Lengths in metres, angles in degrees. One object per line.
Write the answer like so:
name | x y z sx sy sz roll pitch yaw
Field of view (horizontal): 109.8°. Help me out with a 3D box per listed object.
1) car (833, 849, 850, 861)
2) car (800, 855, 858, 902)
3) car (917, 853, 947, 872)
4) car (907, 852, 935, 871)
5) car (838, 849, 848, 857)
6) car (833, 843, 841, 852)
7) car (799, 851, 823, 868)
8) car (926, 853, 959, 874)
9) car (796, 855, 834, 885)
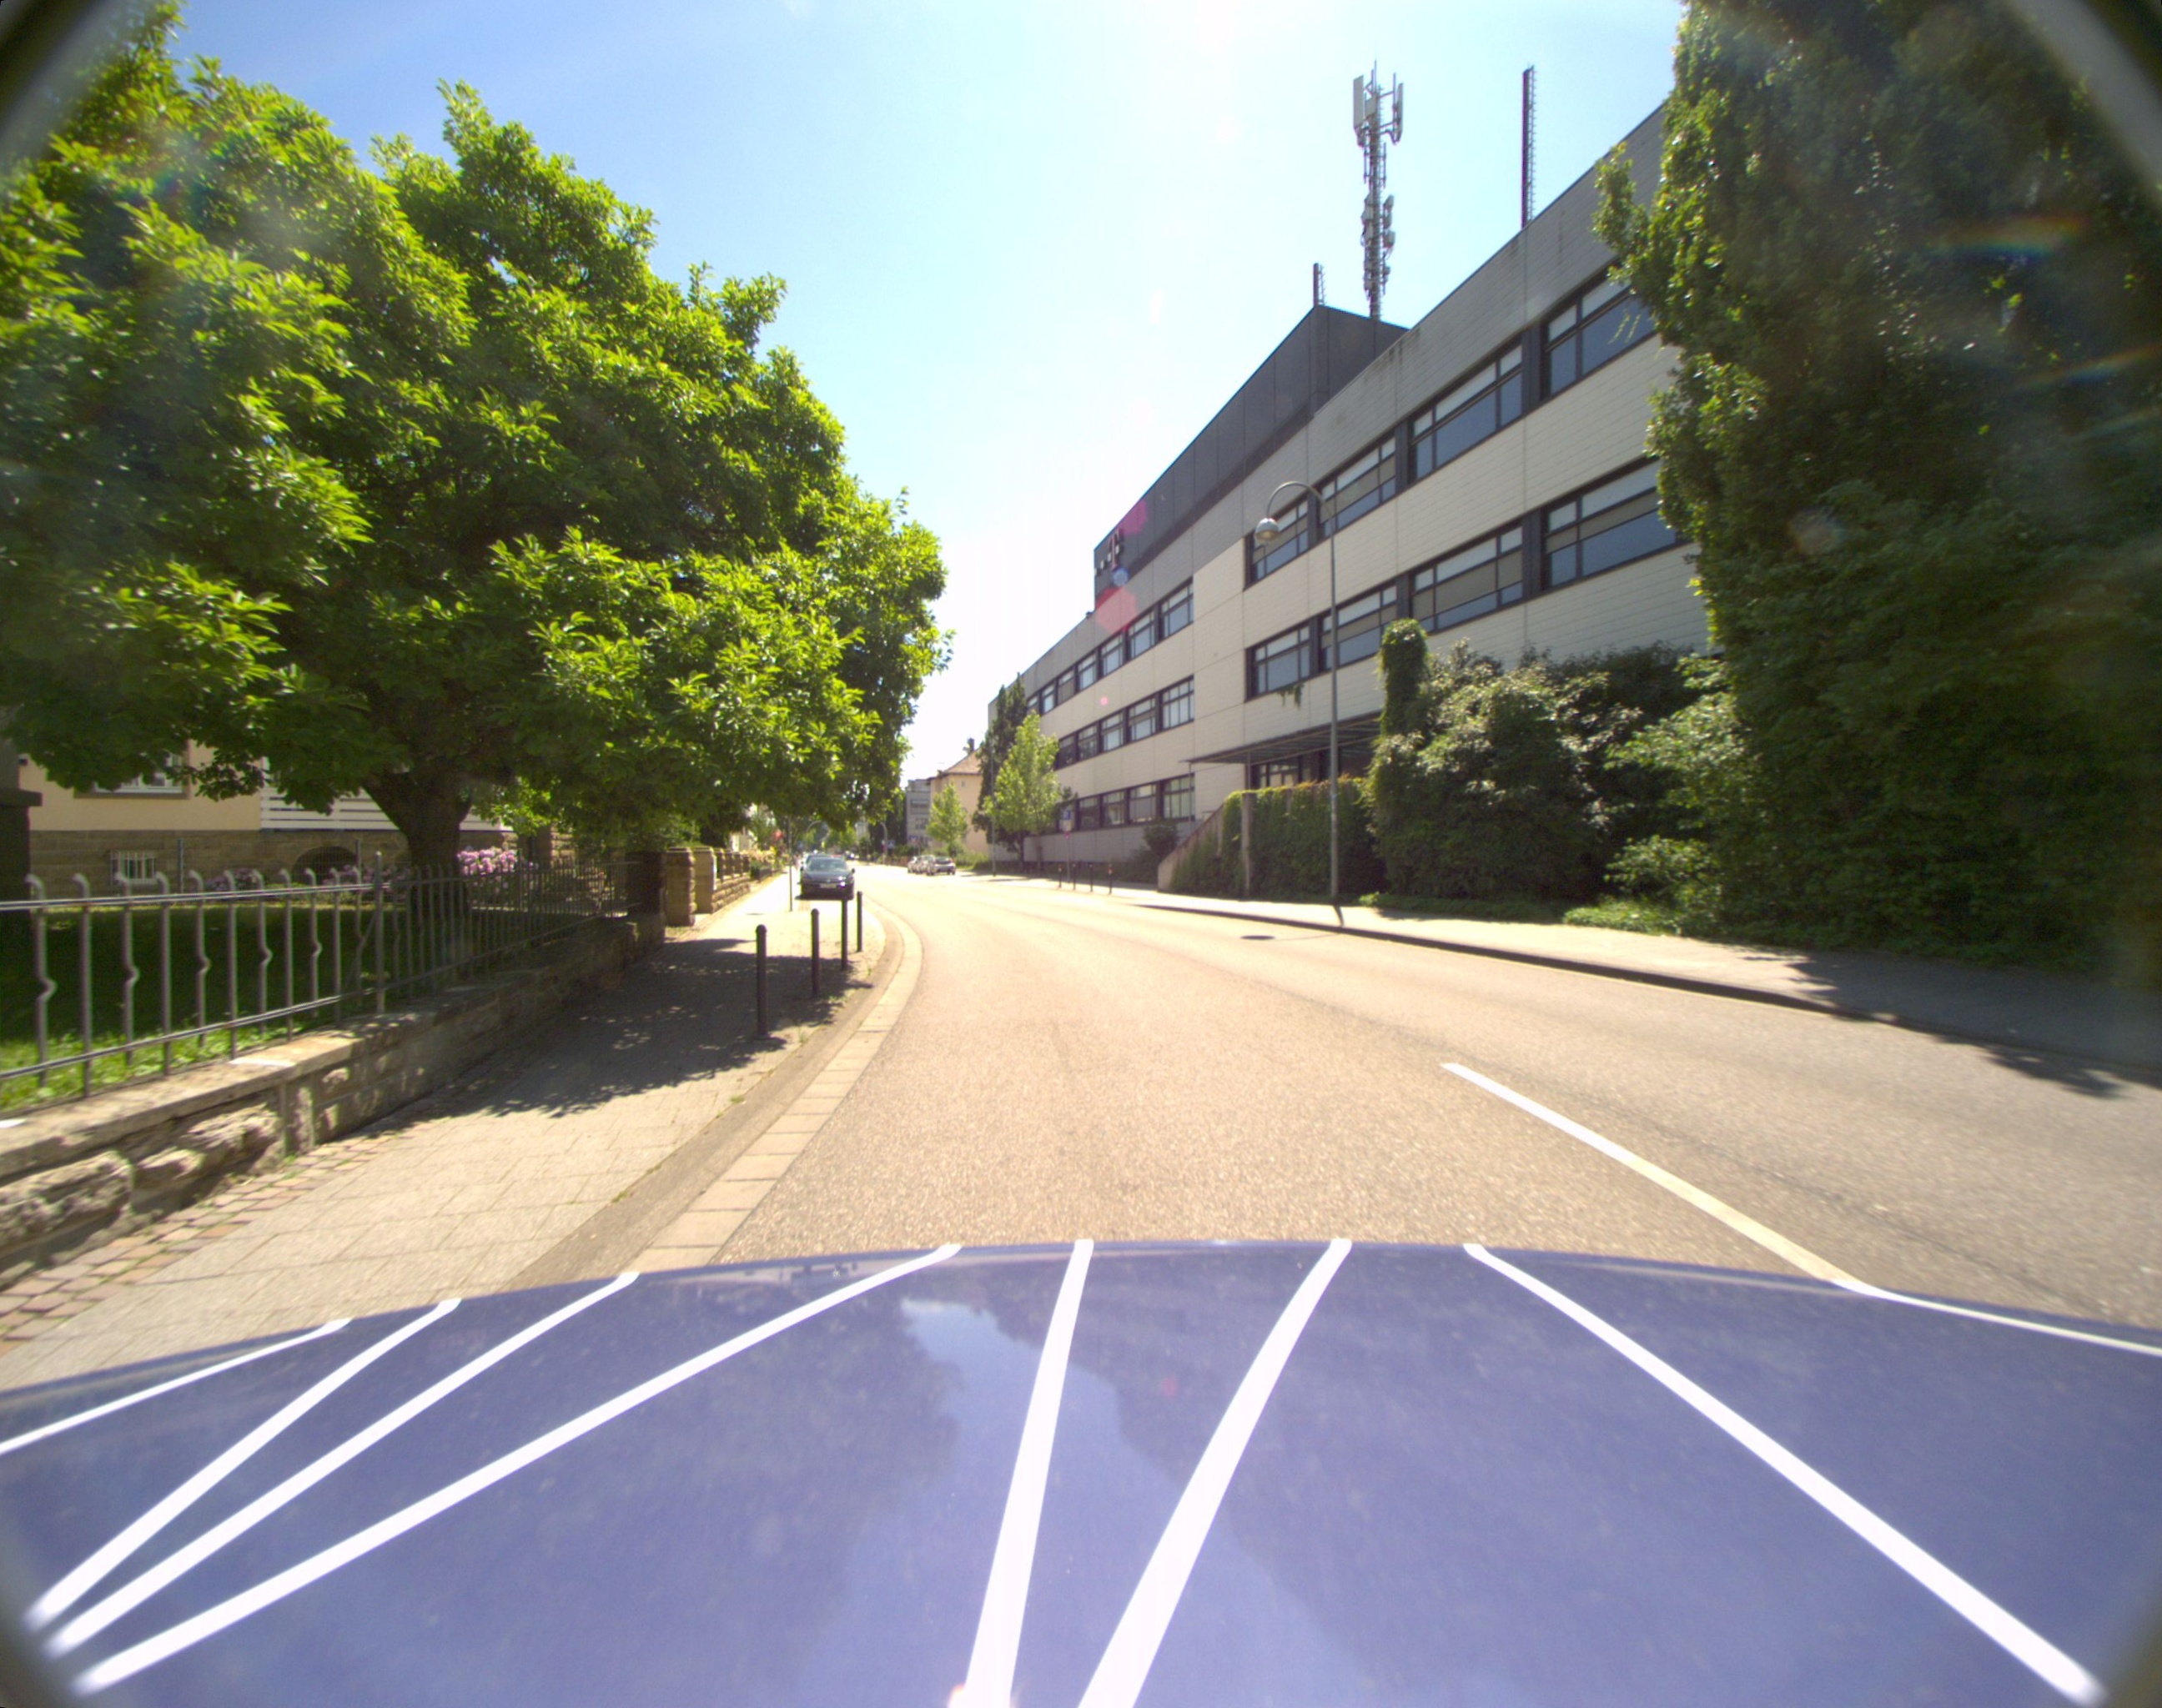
car | -33.280 0.155 105.640 1.850 1.649 3.992 -3 1 -23
car | -9.075 0.819 27.157 1.777 1.532 3.992 1 0 -21
car | -12.246 0.650 62.221 1.748 1.494 3.727 -2 1 -21
car | -14.033 0.627 66.339 1.777 1.532 3.992 0 0 -21
car | -55.410 -0.221 176.695 2.001 1.622 3.993 -3 1 -19
car | -67.551 -1.746 210.009 2.014 2.364 3.993 -3 1 -18
car | -27.255 0.517 76.695 2.002 1.613 3.992 -3 1 -23
car | -10.508 0.678 57.395 1.738 1.441 4.022 -2 1 -21
car | -14.387 0.817 40.956 1.777 1.532 3.992 1 0 -21
